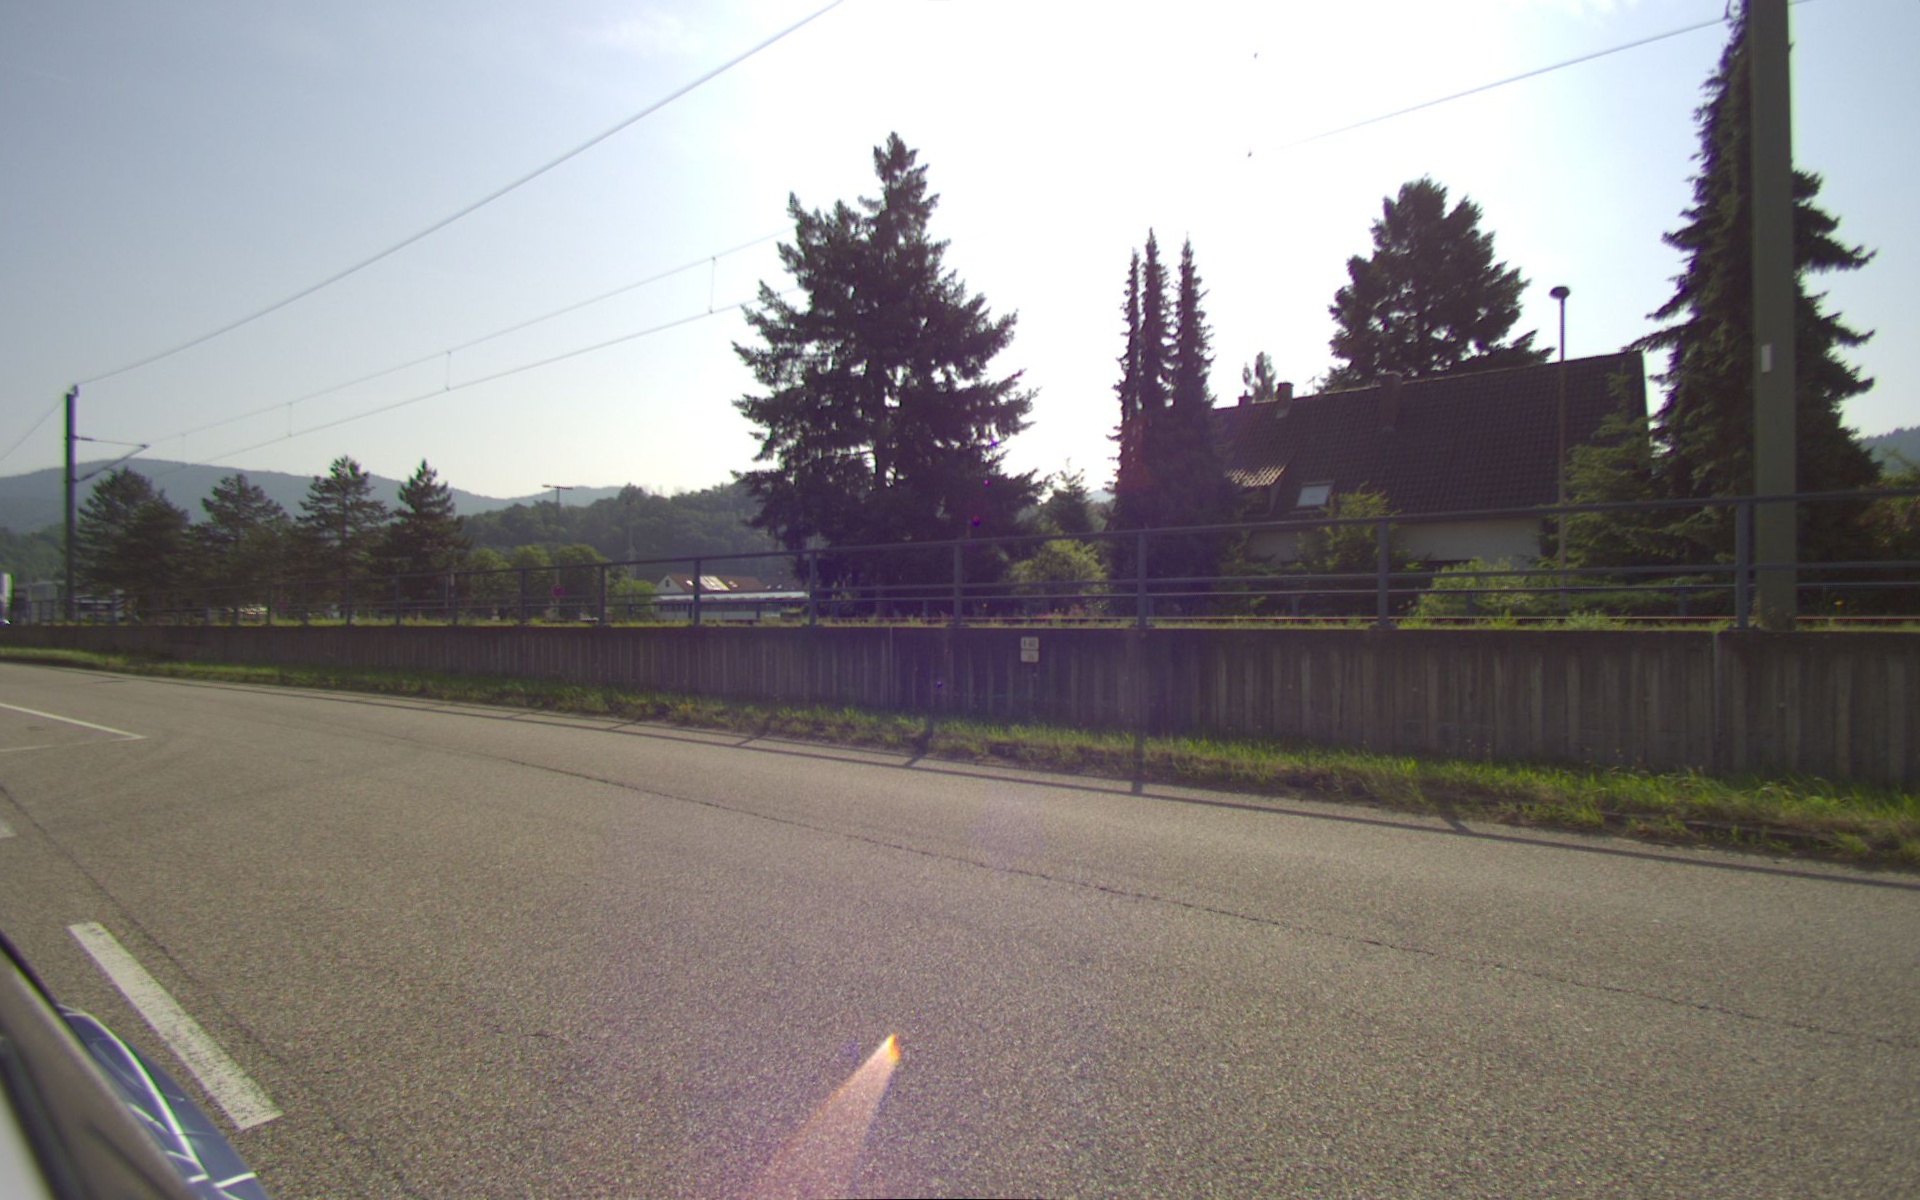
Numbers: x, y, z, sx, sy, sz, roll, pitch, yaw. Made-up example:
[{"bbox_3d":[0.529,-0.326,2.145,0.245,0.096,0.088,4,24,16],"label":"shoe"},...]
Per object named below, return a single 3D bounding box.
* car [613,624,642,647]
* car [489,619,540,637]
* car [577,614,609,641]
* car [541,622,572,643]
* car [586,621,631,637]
[{"bbox_3d":[-20.605,2.188,62.756,1.433,1.335,3.546,0,-1,-14],"label":"car"},{"bbox_3d":[-34.429,2.185,78.341,3.476,1.335,1.462,1,-2,-18],"label":"car"},{"bbox_3d":[-23.758,1.782,65.530,1.618,1.701,3.816,0,-1,-15],"label":"car"},{"bbox_3d":[-26.786,2.153,67.186,1.433,1.335,3.546,0,-1,-14],"label":"car"},{"bbox_3d":[-29.285,2.436,84.410,3.476,1.335,1.462,1,-2,-18],"label":"car"}]
